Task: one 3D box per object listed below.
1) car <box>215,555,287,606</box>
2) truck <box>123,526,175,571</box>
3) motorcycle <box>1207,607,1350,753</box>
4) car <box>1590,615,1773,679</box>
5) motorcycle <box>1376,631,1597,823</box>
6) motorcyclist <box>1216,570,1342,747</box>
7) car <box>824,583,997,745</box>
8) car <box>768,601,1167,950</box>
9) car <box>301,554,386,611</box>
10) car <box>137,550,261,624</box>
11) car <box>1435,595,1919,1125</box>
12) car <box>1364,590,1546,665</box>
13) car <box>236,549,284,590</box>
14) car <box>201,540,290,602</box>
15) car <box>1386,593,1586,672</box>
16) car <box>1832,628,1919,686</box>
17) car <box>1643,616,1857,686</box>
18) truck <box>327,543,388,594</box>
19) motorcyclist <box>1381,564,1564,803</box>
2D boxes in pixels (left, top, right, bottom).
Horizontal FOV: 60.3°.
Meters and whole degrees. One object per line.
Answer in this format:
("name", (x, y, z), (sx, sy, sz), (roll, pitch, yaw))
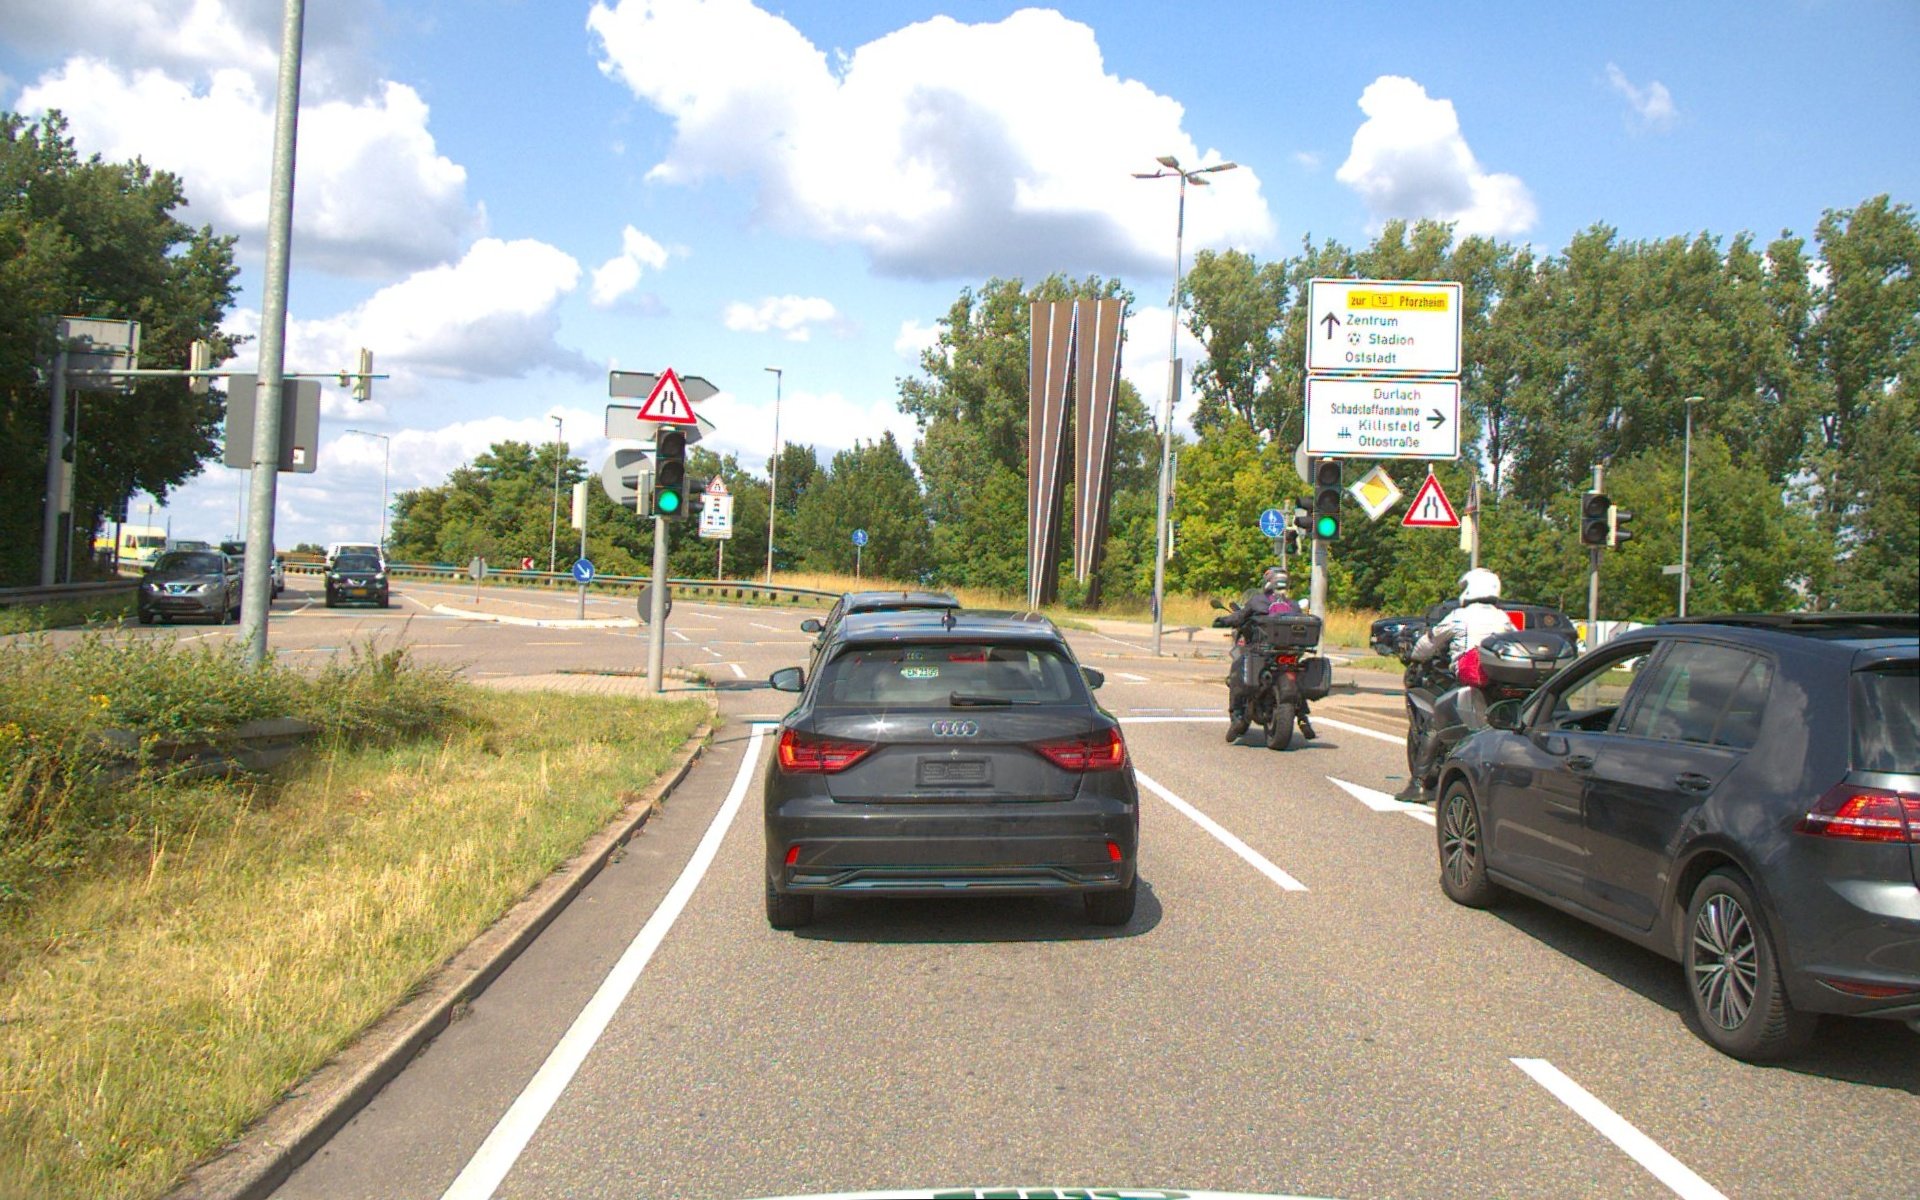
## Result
("car", (-20.844, -0.581, 48.749), (1.556, 1.457, 3.980), (0, 1, -18))
("truck", (-49.498, -3.143, 101.041), (1.963, 2.666, 6.073), (0, 2, -18))
("motorcycle", (3.072, 0.732, 16.228), (0.869, 1.269, 2.399), (2, 1, -1))
("car", (19.208, 1.242, 44.103), (4.119, 1.399, 1.645), (3, 1, -3))
("motorcycle", (3.734, 0.854, 11.977), (0.773, 1.151, 2.399), (2, 1, -1))
("motorcyclist", (3.081, 0.544, 16.067), (0.946, 1.624, 1.124), (2, 0, -1))
("car", (-0.547, 0.593, 17.650), (1.609, 1.504, 3.870), (1, 0, -2))
("car", (0.007, 0.735, 8.741), (1.647, 1.412, 3.738), (0, 0, -1))
("car", (-18.523, -0.536, 49.612), (1.681, 1.584, 3.781), (1, 1, -32))
("car", (-17.411, -0.313, 38.038), (1.680, 1.613, 4.269), (0, 1, -12))
("car", (3.378, 0.759, 6.729), (1.609, 1.504, 3.870), (1, 0, -2))
("car", (12.932, 0.701, 43.355), (4.119, 1.674, 1.837), (3, 1, -3))
("car", (-27.922, -1.220, 65.924), (1.710, 1.547, 4.037), (0, 1, -24))
("car", (-24.741, -0.990, 57.170), (1.976, 2.049, 5.075), (-1, 1, -34))
("car", (12.701, 0.781, 40.067), (4.196, 1.645, 1.844), (3, -1, -3))
("car", (26.090, 1.603, 44.722), (4.119, 1.399, 1.700), (3, 1, -3))
("car", (19.223, 1.227, 40.335), (4.438, 1.399, 1.645), (3, 1, -3))
("truck", (-24.381, -1.303, 66.837), (1.935, 1.946, 5.331), (1, 1, -24))
("motorcyclist", (3.757, 0.585, 12.215), (0.946, 1.648, 1.124), (2, 0, -1))
